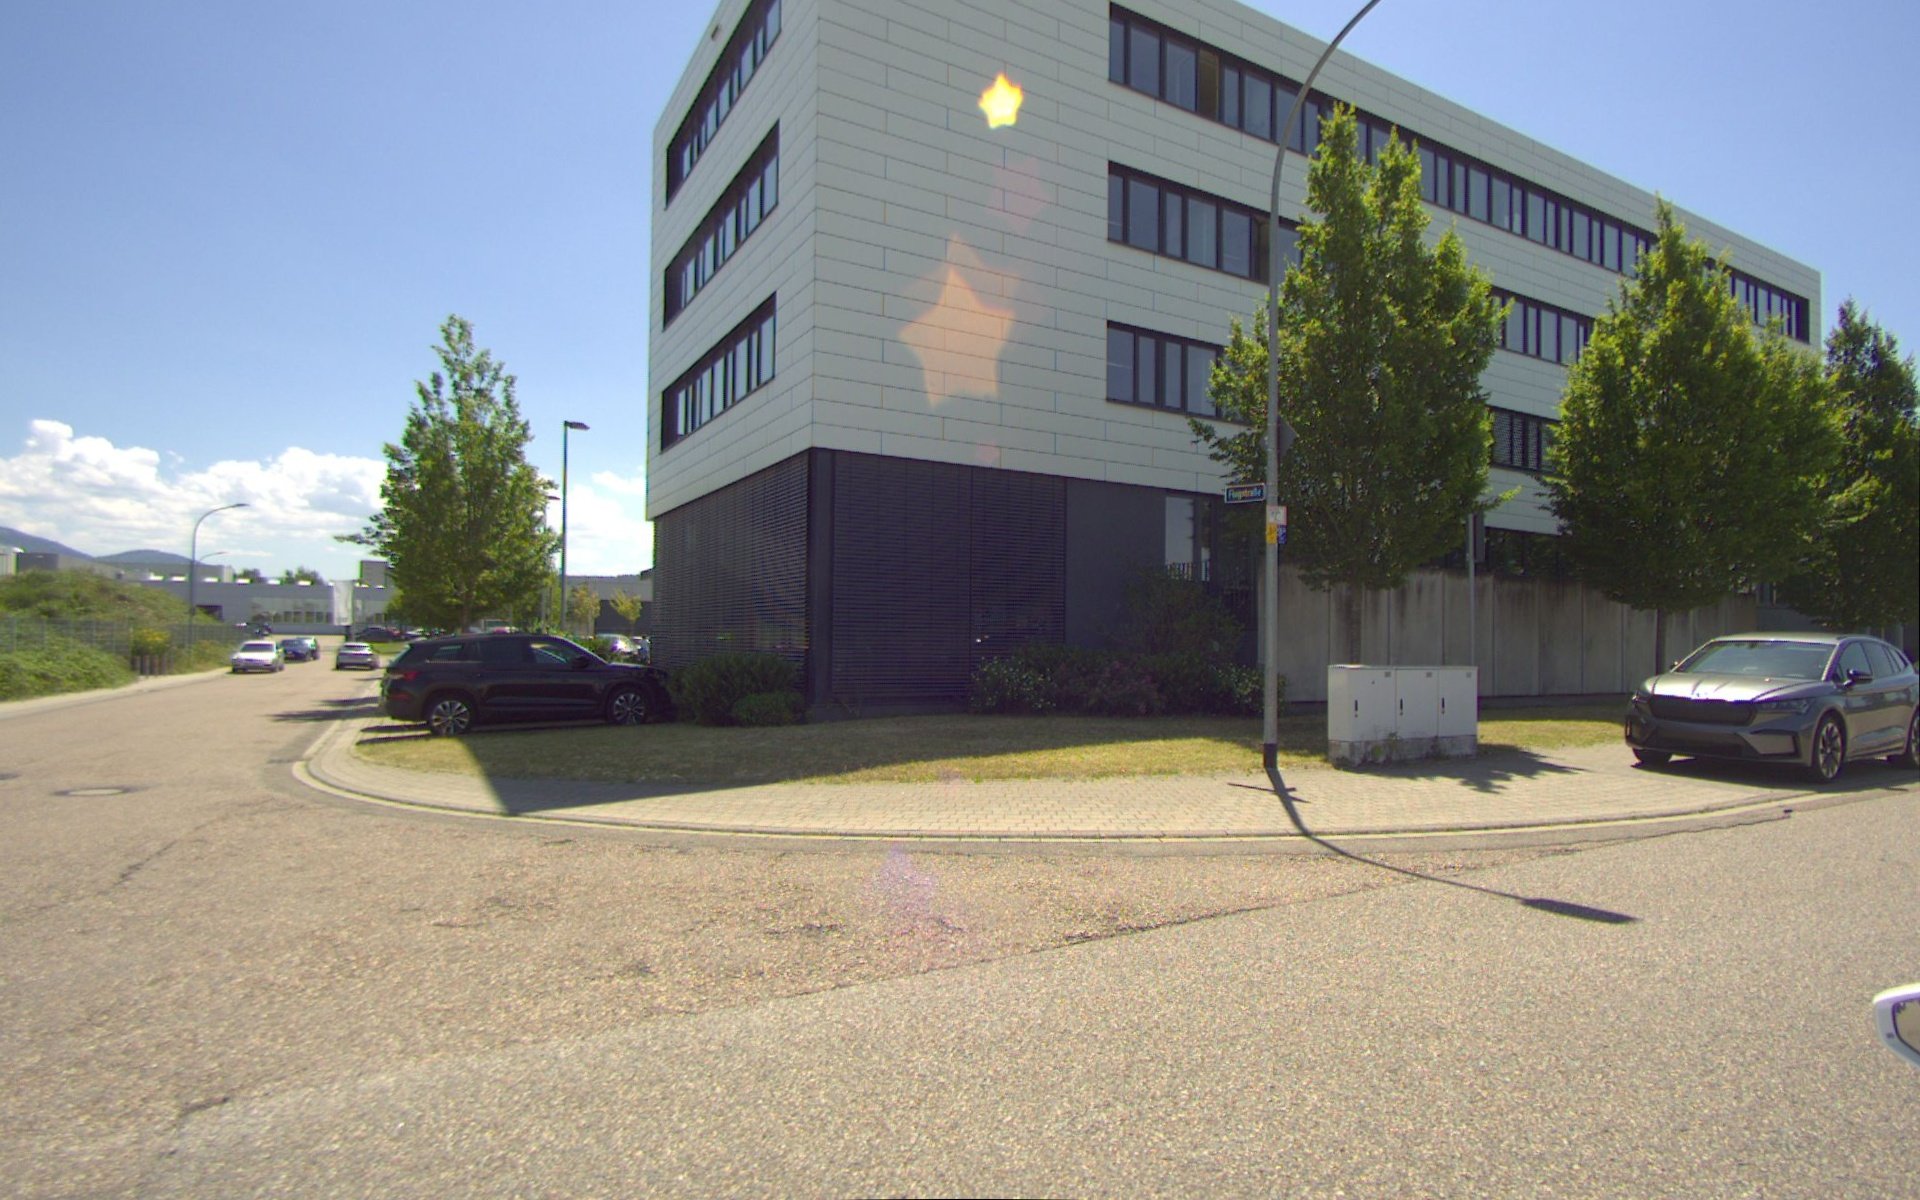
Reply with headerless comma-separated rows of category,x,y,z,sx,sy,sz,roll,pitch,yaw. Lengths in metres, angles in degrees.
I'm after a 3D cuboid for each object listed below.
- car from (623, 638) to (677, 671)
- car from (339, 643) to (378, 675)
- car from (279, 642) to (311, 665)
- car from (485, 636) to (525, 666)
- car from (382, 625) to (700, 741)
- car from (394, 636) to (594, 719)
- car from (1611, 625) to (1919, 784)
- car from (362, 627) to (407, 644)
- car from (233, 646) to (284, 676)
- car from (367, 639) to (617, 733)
car,-16.236,2.844,52.491,1.845,1.658,3.806,3,-4,-30
car,-32.048,3.141,53.604,1.678,1.581,3.806,3,-3,-30
car,-42.068,3.366,63.577,1.427,1.361,3.281,3,-3,-30
car,-28.544,3.182,62.928,1.845,1.658,3.804,3,0,-30
car,-7.173,1.371,17.427,4.841,1.613,1.799,-2,-3,-29
car,-10.358,1.656,22.429,3.884,1.543,1.673,-2,-1,-29
car,9.941,1.171,12.091,4.429,1.608,1.762,3,-2,-31
car,-58.866,3.642,102.735,3.955,1.617,1.788,3,0,-31
car,-34.071,2.945,48.836,1.638,1.318,3.968,3,-3,-30
car,-9.021,1.582,19.526,4.201,1.466,1.798,-2,-1,-29
